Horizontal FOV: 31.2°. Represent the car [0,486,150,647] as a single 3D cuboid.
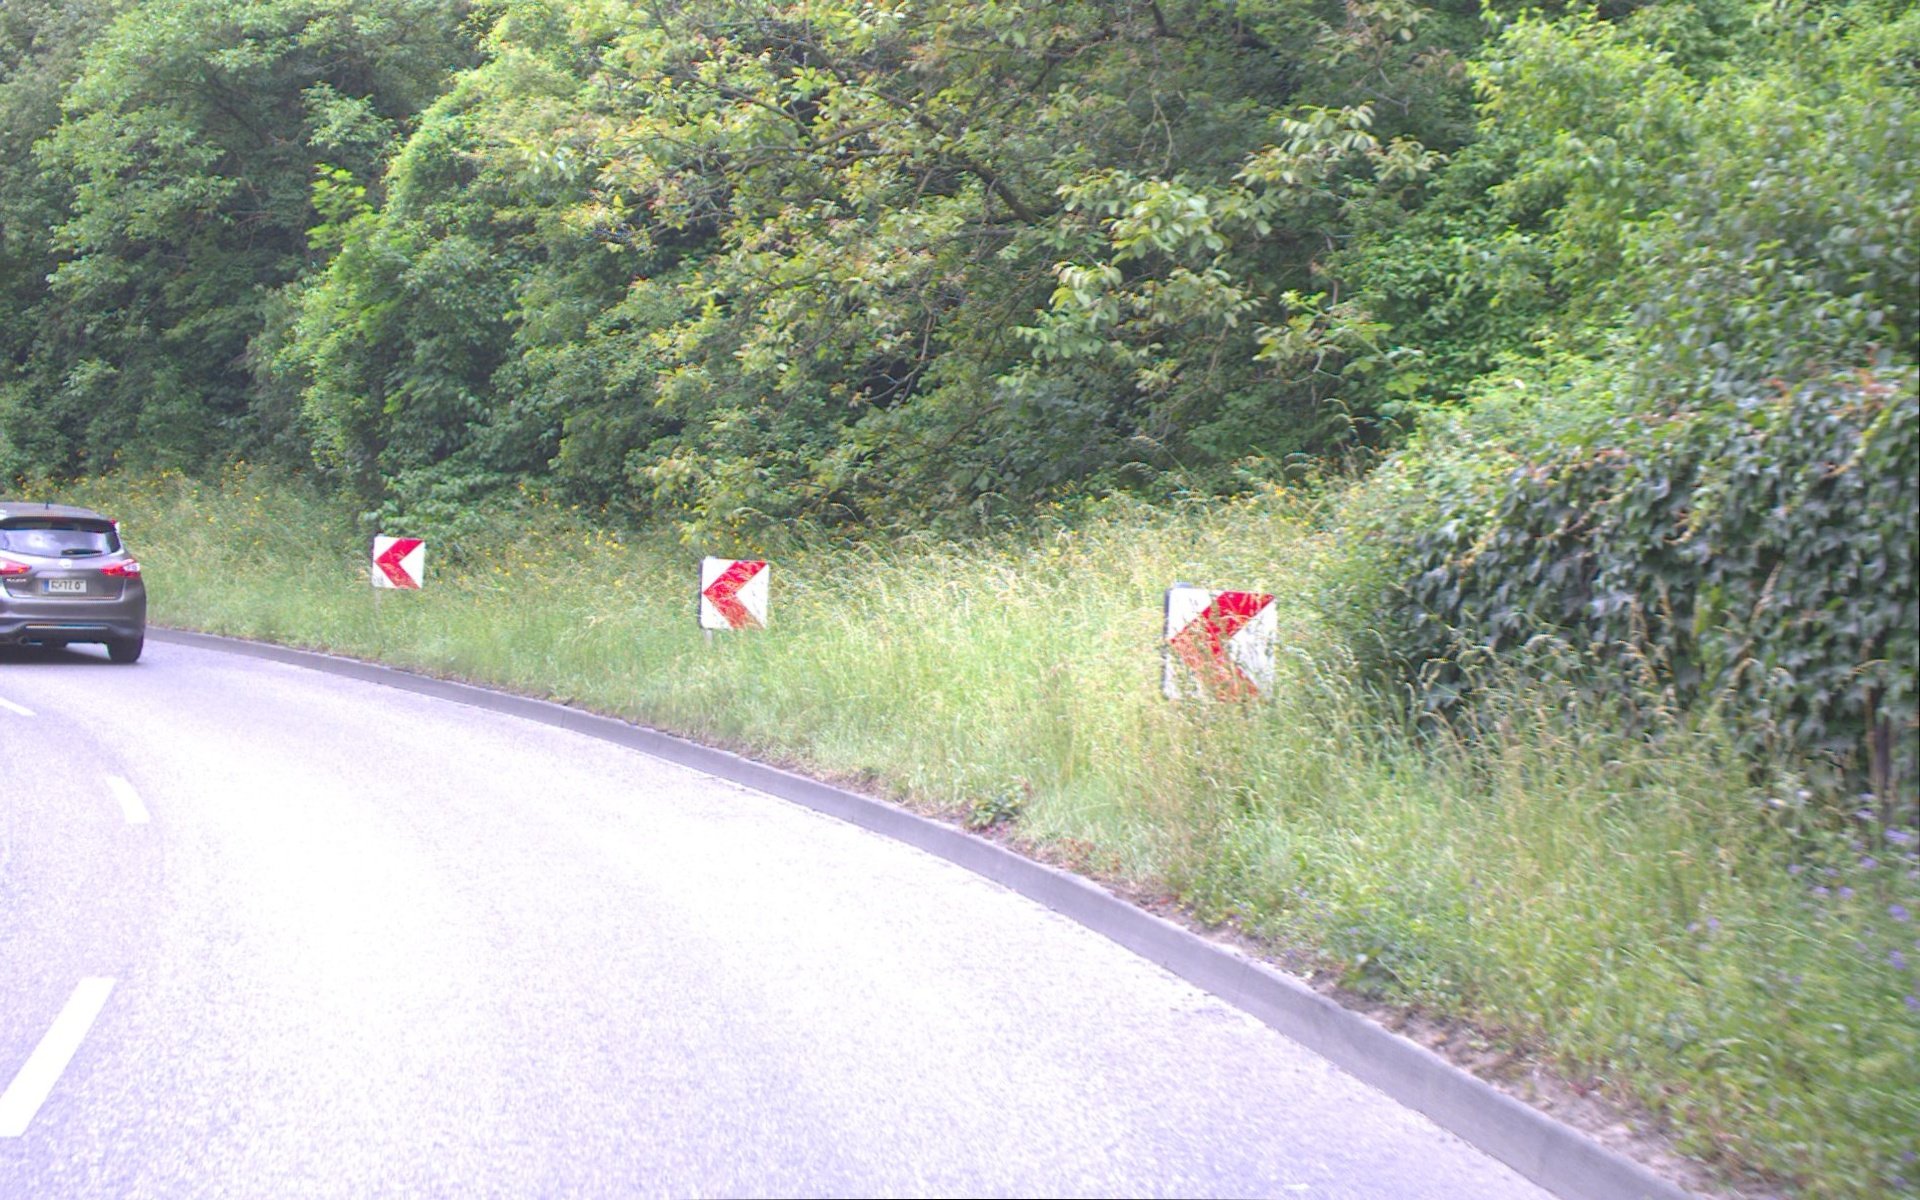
[{"bbox_3d":[-9.461,-0.381,34.178,1.839,1.478,4.001,1,2,-27],"label":"car"}]
